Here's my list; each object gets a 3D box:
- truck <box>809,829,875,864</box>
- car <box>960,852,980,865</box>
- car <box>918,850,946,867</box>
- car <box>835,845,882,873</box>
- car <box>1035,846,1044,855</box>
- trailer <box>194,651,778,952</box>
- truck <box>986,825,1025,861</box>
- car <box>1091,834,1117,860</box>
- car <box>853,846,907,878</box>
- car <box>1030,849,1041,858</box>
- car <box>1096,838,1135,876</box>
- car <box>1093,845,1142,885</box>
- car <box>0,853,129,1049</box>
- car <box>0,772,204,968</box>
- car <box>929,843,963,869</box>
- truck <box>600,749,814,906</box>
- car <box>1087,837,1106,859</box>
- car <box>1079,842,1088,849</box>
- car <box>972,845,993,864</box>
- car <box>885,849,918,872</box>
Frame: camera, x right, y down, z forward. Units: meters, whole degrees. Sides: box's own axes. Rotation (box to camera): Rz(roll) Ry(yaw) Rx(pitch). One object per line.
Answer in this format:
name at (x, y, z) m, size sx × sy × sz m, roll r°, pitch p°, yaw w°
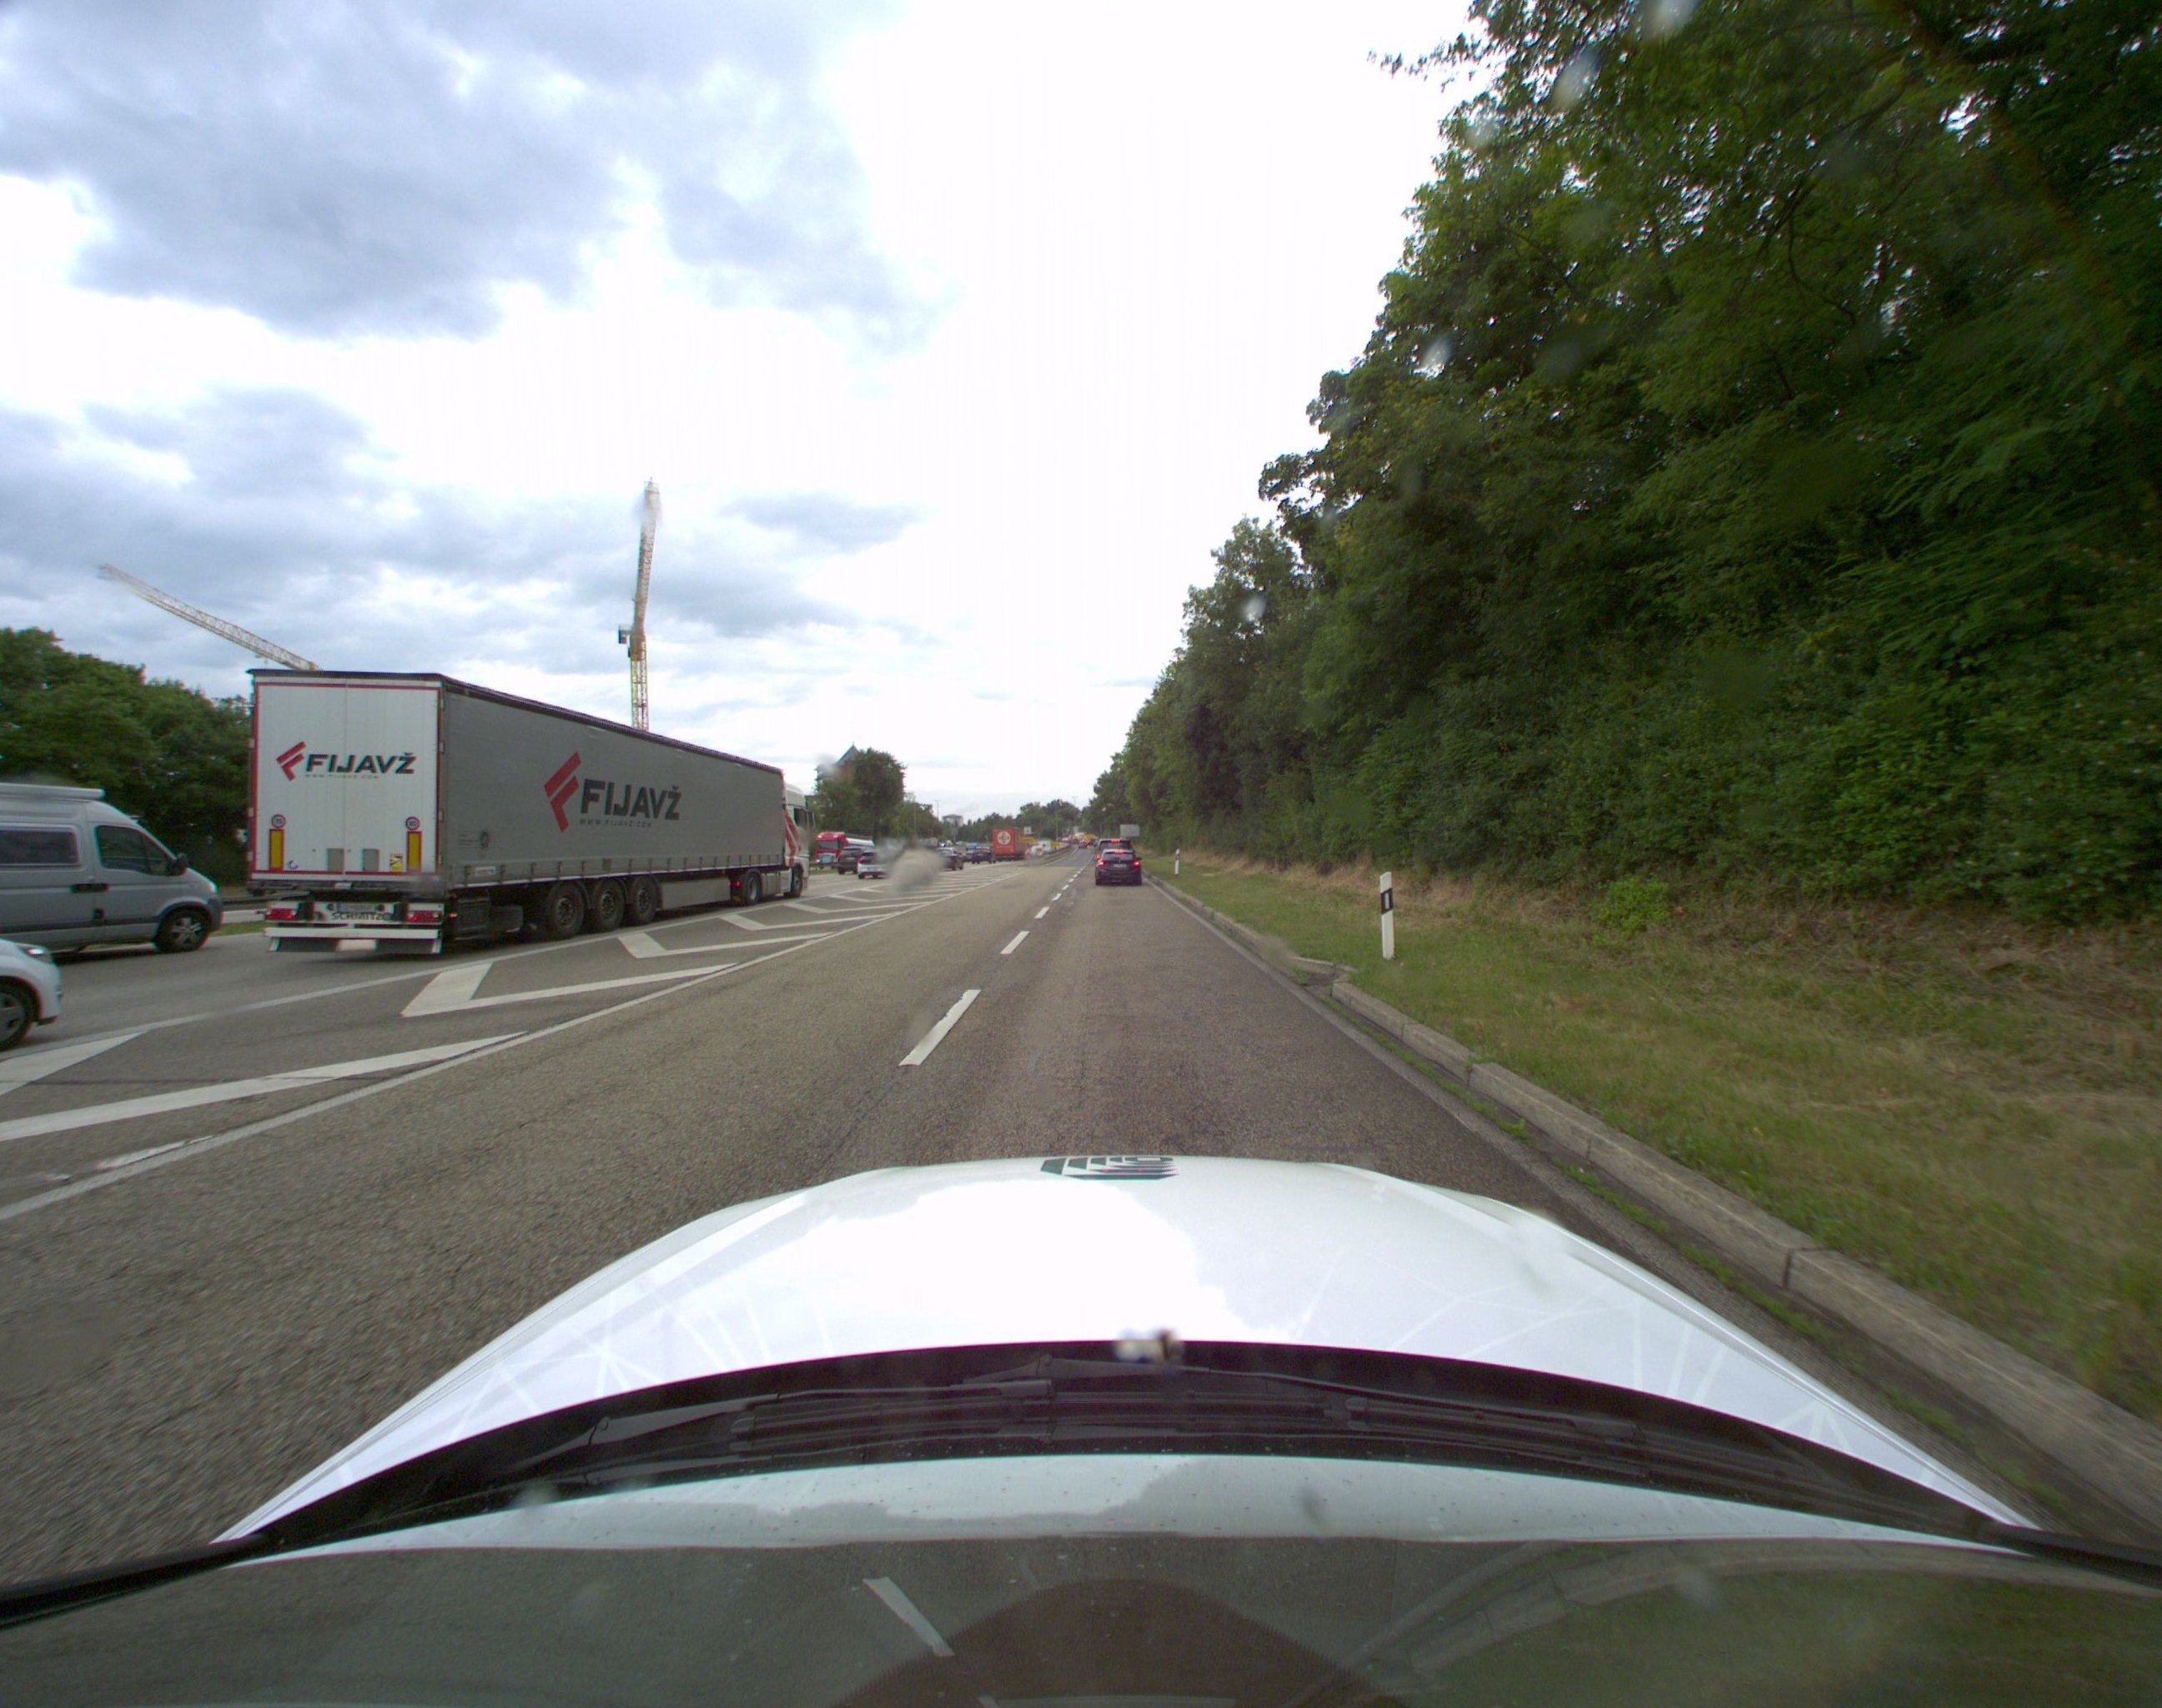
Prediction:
truck at (-25.039, -0.712, 86.121) m, size 3.583 × 3.508 × 10.564 m, roll 0°, pitch 0°, yaw 2°
car at (-13.433, 0.534, 98.807) m, size 1.853 × 1.618 × 4.000 m, roll 0°, pitch 0°, yaw 0°
car at (-14.142, 0.425, 77.609) m, size 1.853 × 1.618 × 4.000 m, roll 0°, pitch 0°, yaw 0°
car at (-14.177, 0.292, 52.101) m, size 1.867 × 1.716 × 4.001 m, roll 0°, pitch 0°, yaw 1°
car at (-7.637, -0.644, 149.462) m, size 1.552 × 1.552 × 3.998 m, roll -1°, pitch 0°, yaw -1°
trailer at (-10.426, -0.672, 17.524) m, size 3.290 × 4.036 × 13.087 m, roll 0°, pitch 0°, yaw -2°
truck at (-9.211, -1.324, 100.933) m, size 3.479 × 4.073 × 13.588 m, roll -2°, pitch 0°, yaw 0°
car at (1.876, -0.597, 67.921) m, size 1.988 × 2.013 × 3.998 m, roll -1°, pitch 1°, yaw -2°
car at (-10.604, 0.416, 43.234) m, size 1.794 × 1.604 × 4.256 m, roll 0°, pitch 0°, yaw 0°
car at (-7.481, -0.080, 133.672) m, size 1.552 × 1.552 × 3.816 m, roll 0°, pitch 0°, yaw -1°
car at (1.699, 0.154, 40.337) m, size 1.816 × 1.822 × 4.002 m, roll 0°, pitch 0°, yaw 2°
car at (1.406, 0.408, 33.068) m, size 1.819 × 1.482 × 4.000 m, roll -1°, pitch 0°, yaw 0°
car at (-9.052, 0.771, 5.034) m, size 1.573 × 1.490 × 4.035 m, roll -1°, pitch 0°, yaw 0°
car at (-15.087, 0.226, 10.407) m, size 1.988 × 2.553 × 5.358 m, roll -1°, pitch 0°, yaw -2°
car at (-9.327, 0.150, 56.496) m, size 1.712 × 1.684 × 3.999 m, roll 0°, pitch 0°, yaw 0°
truck at (-10.577, -0.643, 24.079) m, size 3.190 × 3.947 × 7.069 m, roll 0°, pitch 0°, yaw -2°
car at (1.476, -0.545, 76.956) m, size 1.600 × 2.013 × 3.998 m, roll -1°, pitch 1°, yaw -2°
car at (0.452, -1.729, 172.970) m, size 1.819 × 1.482 × 3.999 m, roll -1°, pitch 0°, yaw -1°
car at (-9.907, 0.064, 82.103) m, size 1.856 × 1.816 × 3.995 m, roll 0°, pitch 0°, yaw -3°
car at (-14.239, 0.515, 64.720) m, size 1.712 × 1.716 × 3.999 m, roll 0°, pitch 0°, yaw 0°
